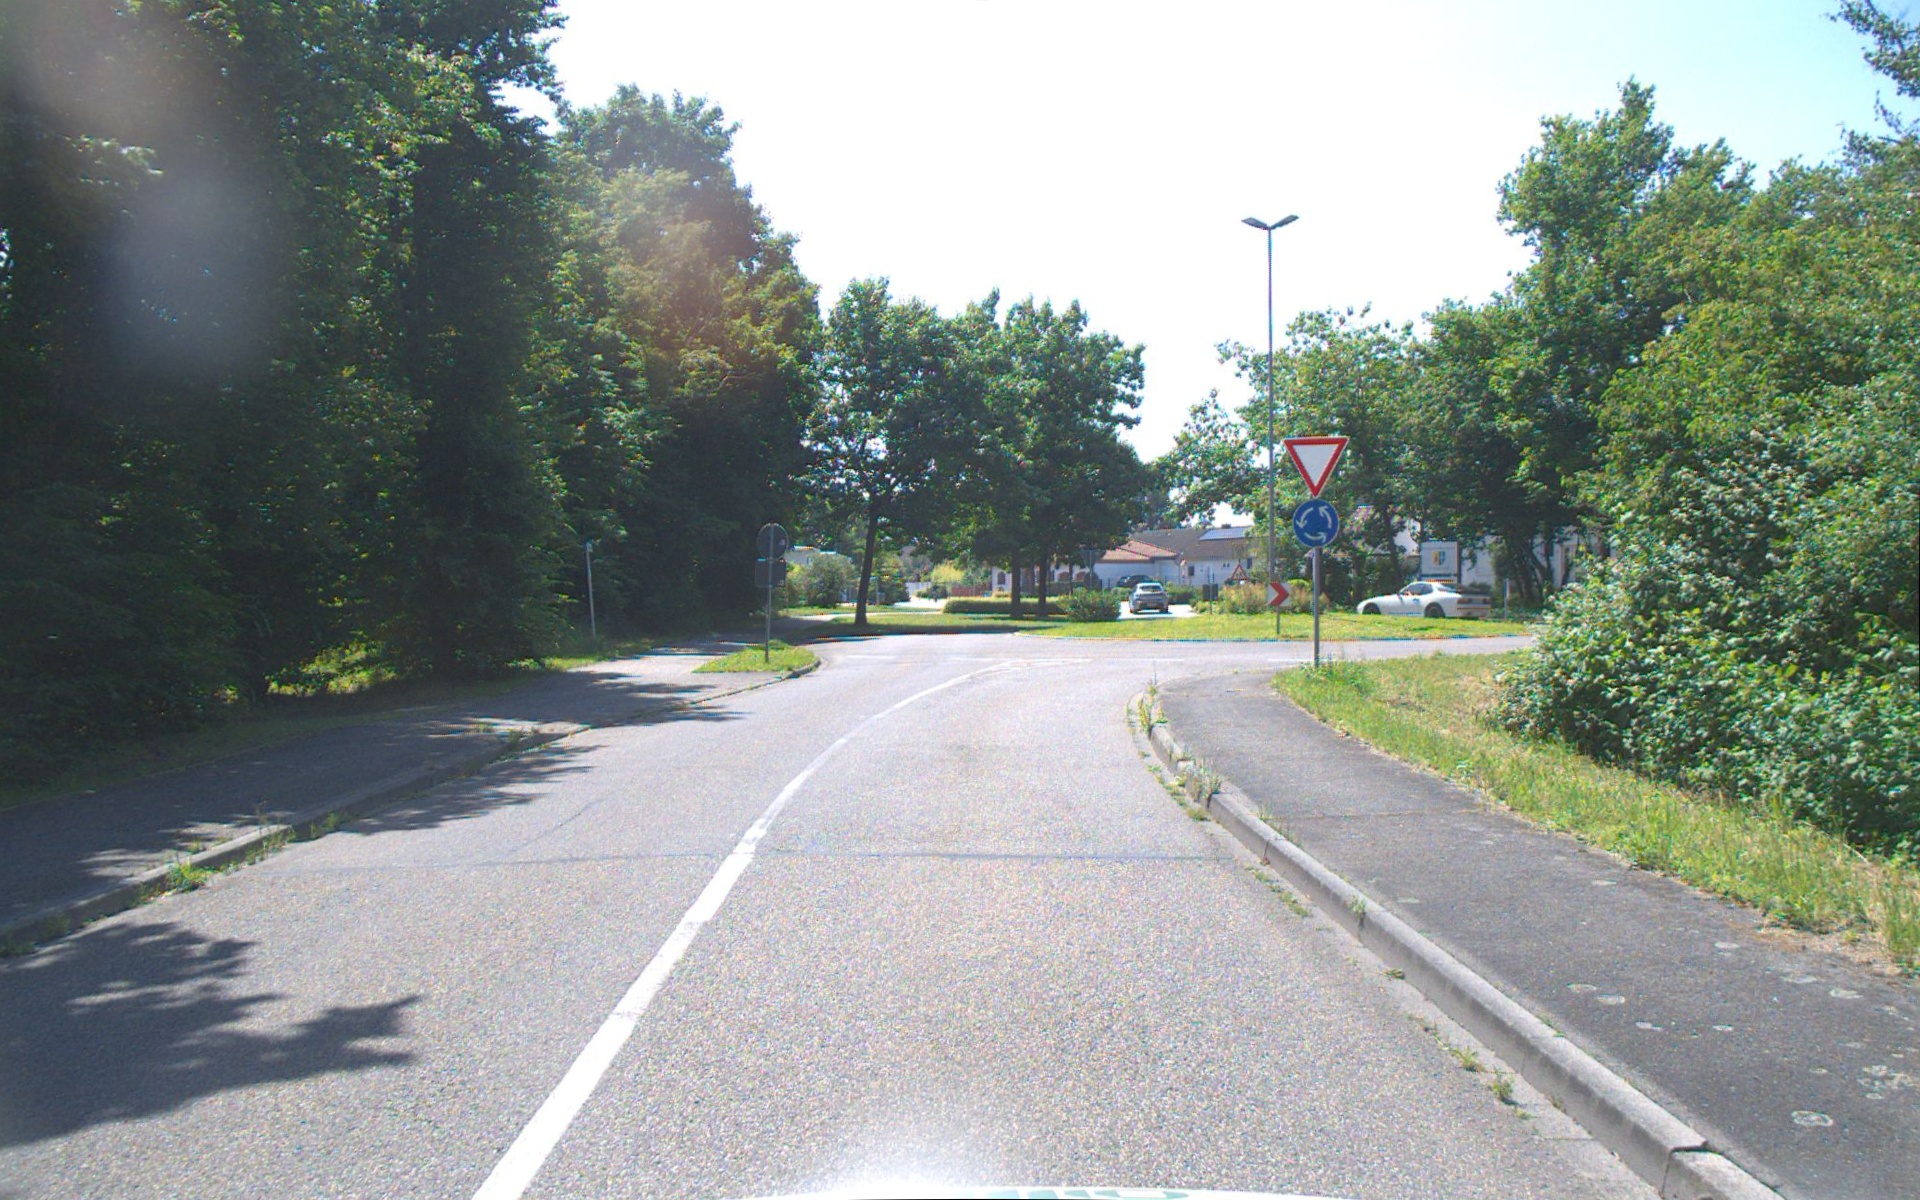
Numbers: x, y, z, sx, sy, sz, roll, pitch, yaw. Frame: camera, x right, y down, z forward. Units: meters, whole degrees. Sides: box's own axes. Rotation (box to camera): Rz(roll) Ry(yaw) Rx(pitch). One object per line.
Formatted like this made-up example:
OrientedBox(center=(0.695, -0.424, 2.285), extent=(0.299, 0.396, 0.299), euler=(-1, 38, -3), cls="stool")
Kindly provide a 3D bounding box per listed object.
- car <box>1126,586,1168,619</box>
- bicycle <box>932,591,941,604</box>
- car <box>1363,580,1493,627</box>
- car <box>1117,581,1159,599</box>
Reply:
OrientedBox(center=(9.032, 0.091, 80.141), extent=(1.595, 1.512, 4.000), euler=(-1, 1, 0), cls="car")
OrientedBox(center=(-1.770, -0.214, 125.115), extent=(0.585, 0.945, 1.620), euler=(-1, 0, -2), cls="bicycle")
OrientedBox(center=(13.720, 0.096, 48.632), extent=(1.600, 1.311, 3.514), euler=(-1, 0, -34), cls="car")
OrientedBox(center=(16.354, -0.916, 151.500), extent=(3.806, 1.569, 1.825), euler=(-1, 0, -44), cls="car")
